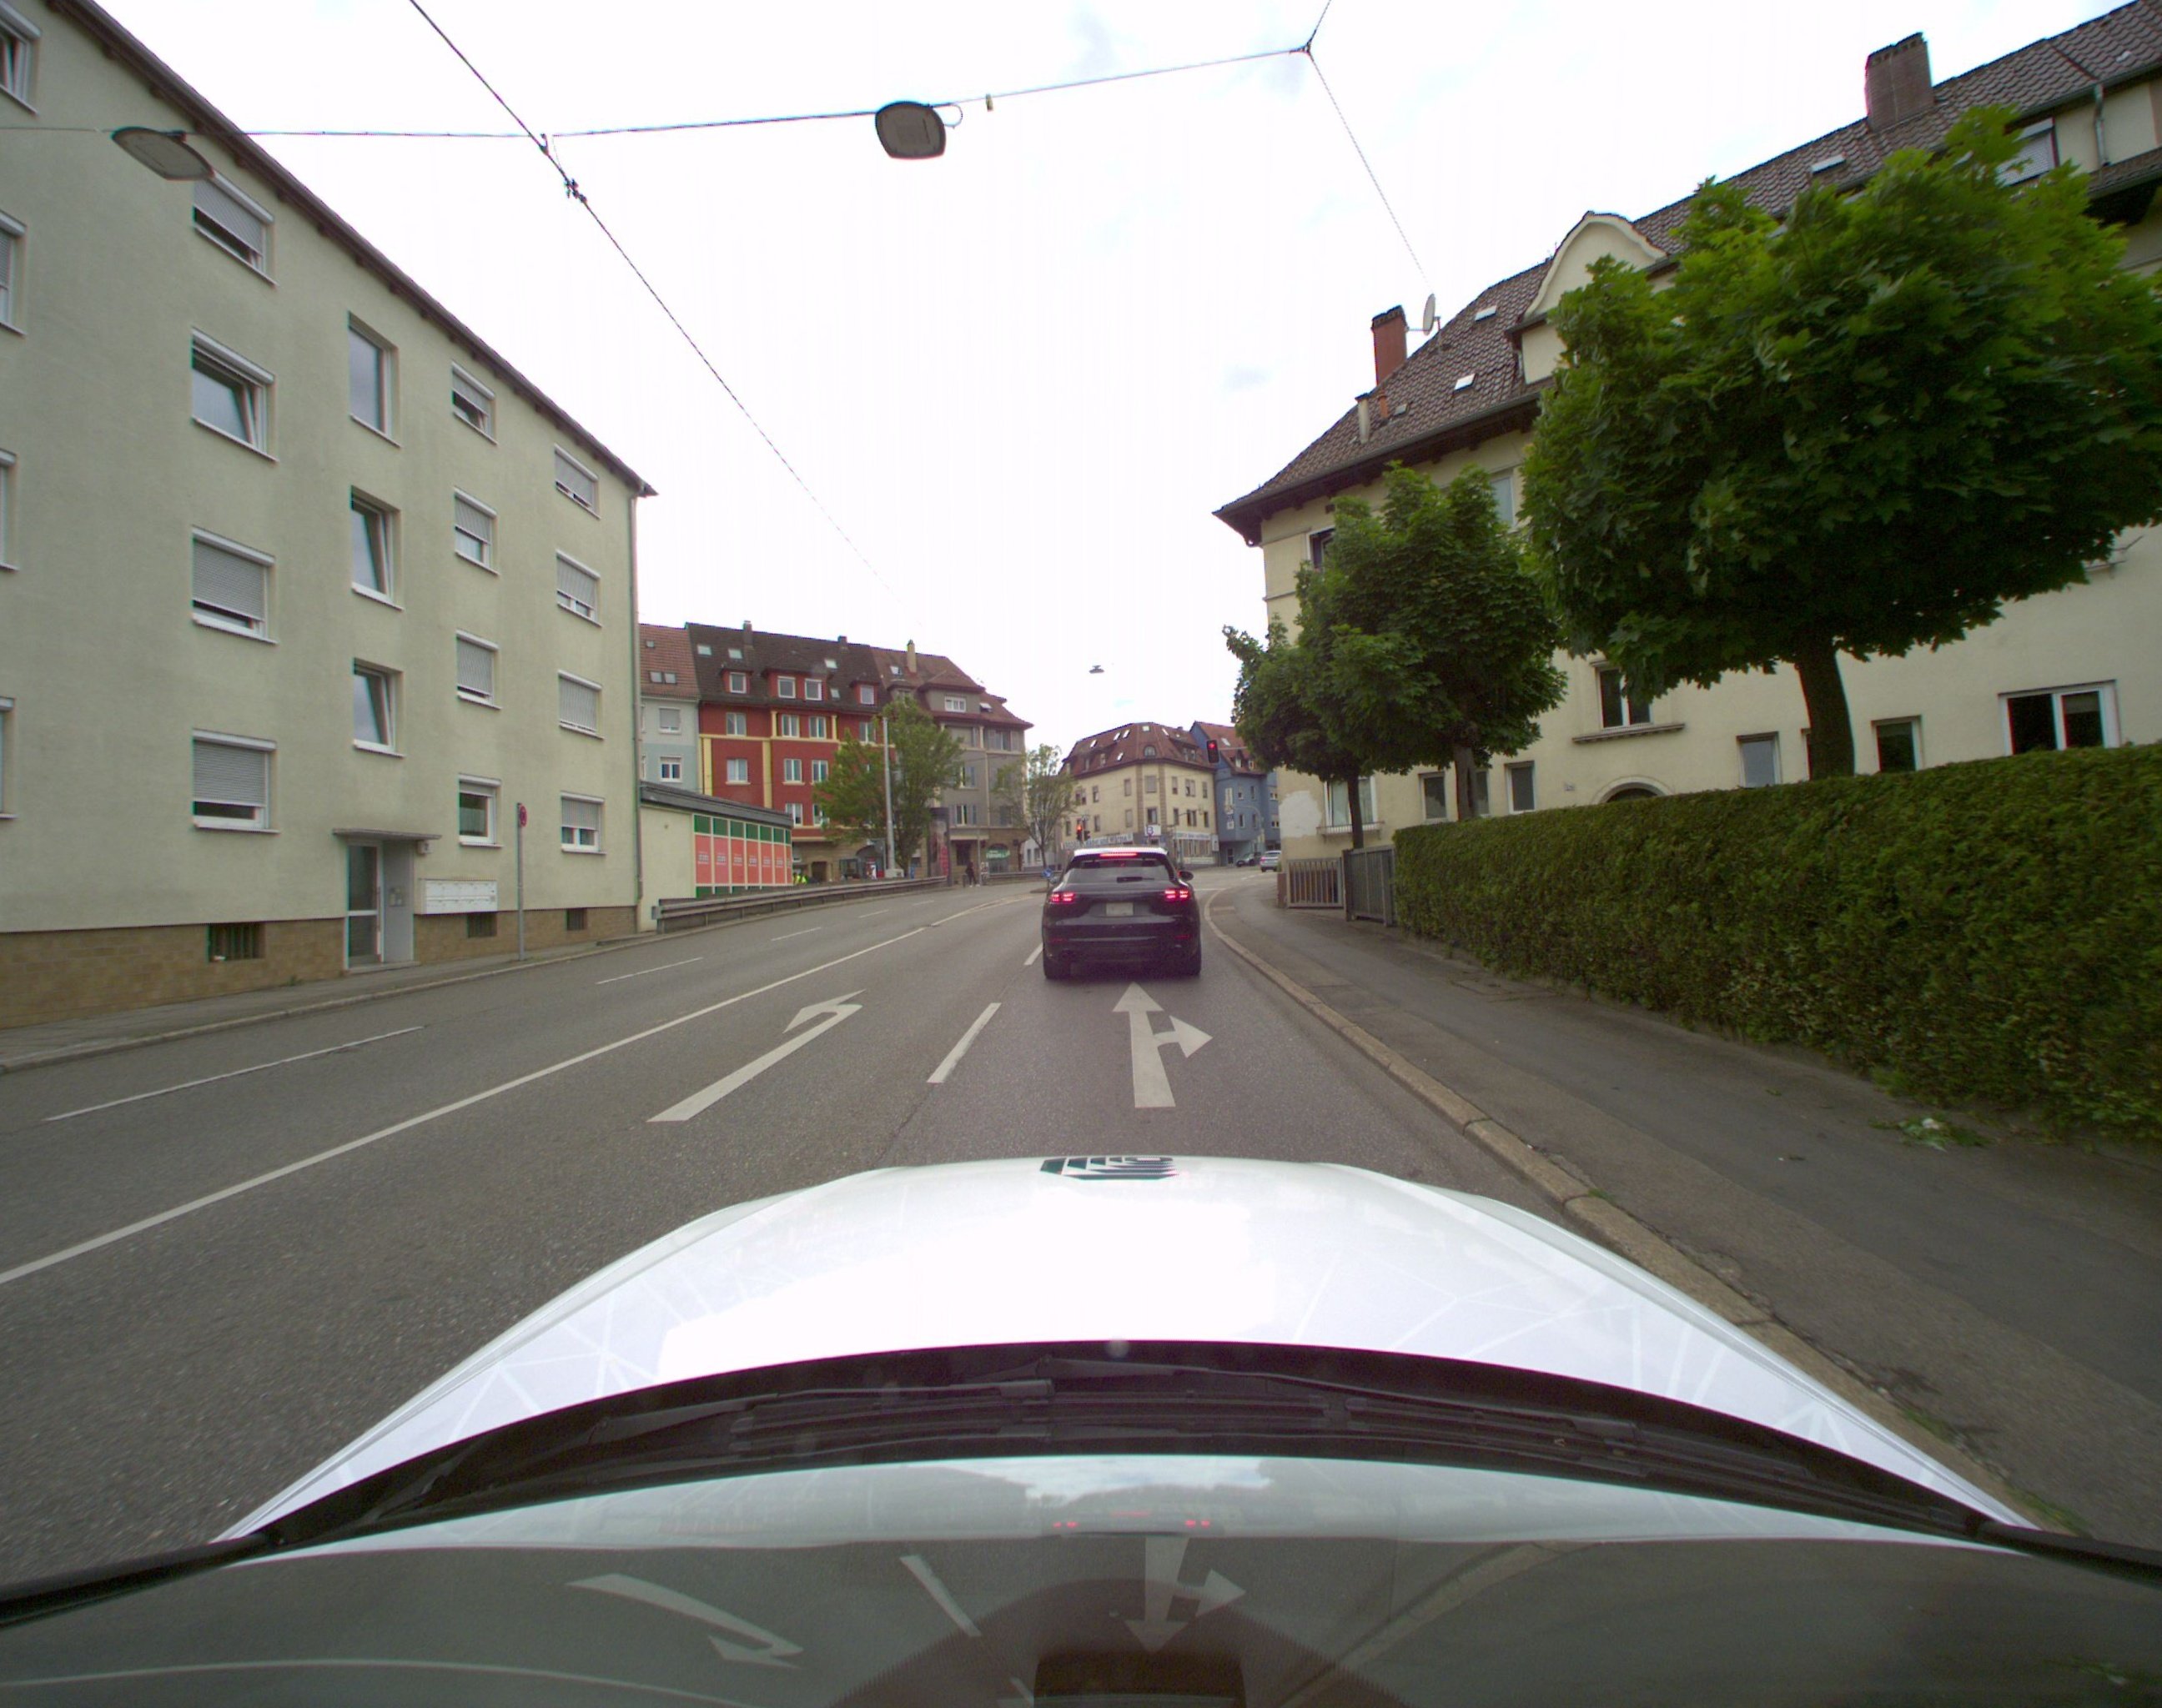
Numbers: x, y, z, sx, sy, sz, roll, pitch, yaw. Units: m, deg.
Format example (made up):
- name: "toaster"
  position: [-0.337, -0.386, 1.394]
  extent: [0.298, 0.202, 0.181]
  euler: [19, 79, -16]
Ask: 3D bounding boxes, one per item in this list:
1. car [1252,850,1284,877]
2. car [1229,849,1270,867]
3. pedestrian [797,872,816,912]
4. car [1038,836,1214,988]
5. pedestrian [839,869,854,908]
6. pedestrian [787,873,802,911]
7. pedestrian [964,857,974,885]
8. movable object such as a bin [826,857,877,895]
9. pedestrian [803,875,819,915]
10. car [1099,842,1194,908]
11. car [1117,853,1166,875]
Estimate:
- name: "car"
  position: [12.744, 0.627, 55.451]
  extent: [1.979, 1.684, 4.015]
  euler: [-2, -1, 13]
- name: "car"
  position: [17.437, 0.385, 84.227]
  extent: [4.019, 1.684, 1.977]
  euler: [-2, -1, -38]
- name: "pedestrian"
  position: [-12.549, 1.730, 37.179]
  extent: [0.565, 1.761, 0.622]
  euler: [-1, -1, 39]
- name: "car"
  position: [0.581, 0.655, 11.391]
  extent: [1.971, 1.684, 4.002]
  euler: [-2, 0, 2]
- name: "pedestrian"
  position: [-10.732, 1.566, 37.229]
  extent: [0.545, 1.730, 0.588]
  euler: [0, -1, -30]
- name: "pedestrian"
  position: [-13.334, 1.754, 37.858]
  extent: [0.479, 1.730, 0.537]
  euler: [0, -1, -41]
- name: "pedestrian"
  position: [-7.058, 1.059, 51.413]
  extent: [0.511, 1.730, 0.451]
  euler: [0, -1, 6]
- name: "movable object such as a bin"
  position: [-11.289, 1.039, 40.254]
  extent: [1.901, 1.771, 3.988]
  euler: [0, -1, -9]
- name: "pedestrian"
  position: [-11.903, 1.806, 35.919]
  extent: [0.562, 1.700, 0.542]
  euler: [0, -1, -7]
- name: "car"
  position: [2.012, 0.566, 23.792]
  extent: [1.979, 1.684, 4.016]
  euler: [-3, -1, 15]
- name: "car"
  position: [5.104, 0.863, 69.413]
  extent: [2.009, 1.684, 3.955]
  euler: [-1, -1, -37]
